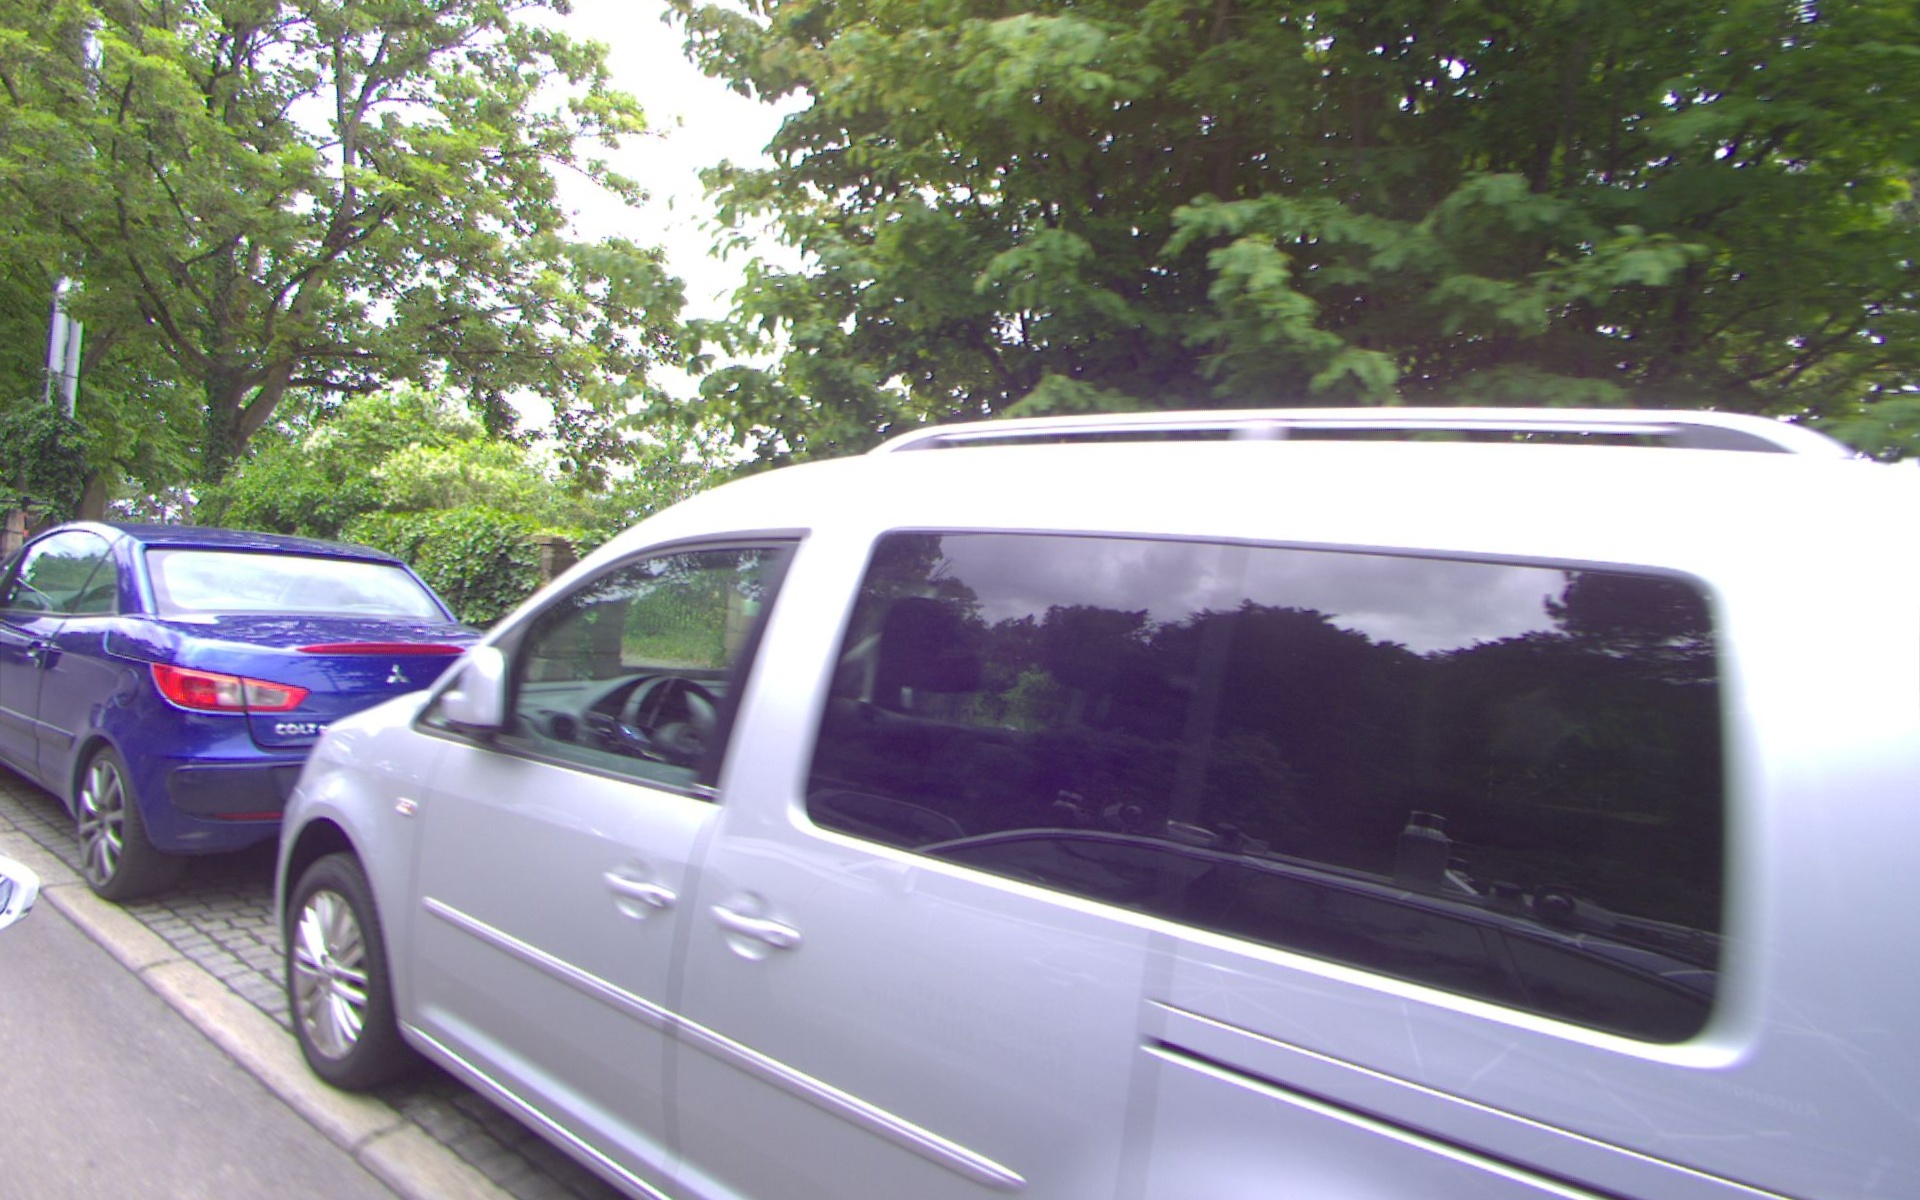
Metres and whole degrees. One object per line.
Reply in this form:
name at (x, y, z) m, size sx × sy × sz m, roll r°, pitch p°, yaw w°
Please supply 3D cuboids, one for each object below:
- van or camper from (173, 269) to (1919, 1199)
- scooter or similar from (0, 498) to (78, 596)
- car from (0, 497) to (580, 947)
van or camper at (-0.259, 0.539, 2.725) m, size 4.176 × 1.867 × 1.699 m, roll 6°, pitch -1°, yaw 35°
scooter or similar at (-13.141, -0.771, 14.199) m, size 1.967 × 1.262 × 0.560 m, roll 6°, pitch 5°, yaw 34°
car at (-3.896, 0.328, 5.175) m, size 3.879 × 1.478 × 1.598 m, roll 6°, pitch 1°, yaw 34°
